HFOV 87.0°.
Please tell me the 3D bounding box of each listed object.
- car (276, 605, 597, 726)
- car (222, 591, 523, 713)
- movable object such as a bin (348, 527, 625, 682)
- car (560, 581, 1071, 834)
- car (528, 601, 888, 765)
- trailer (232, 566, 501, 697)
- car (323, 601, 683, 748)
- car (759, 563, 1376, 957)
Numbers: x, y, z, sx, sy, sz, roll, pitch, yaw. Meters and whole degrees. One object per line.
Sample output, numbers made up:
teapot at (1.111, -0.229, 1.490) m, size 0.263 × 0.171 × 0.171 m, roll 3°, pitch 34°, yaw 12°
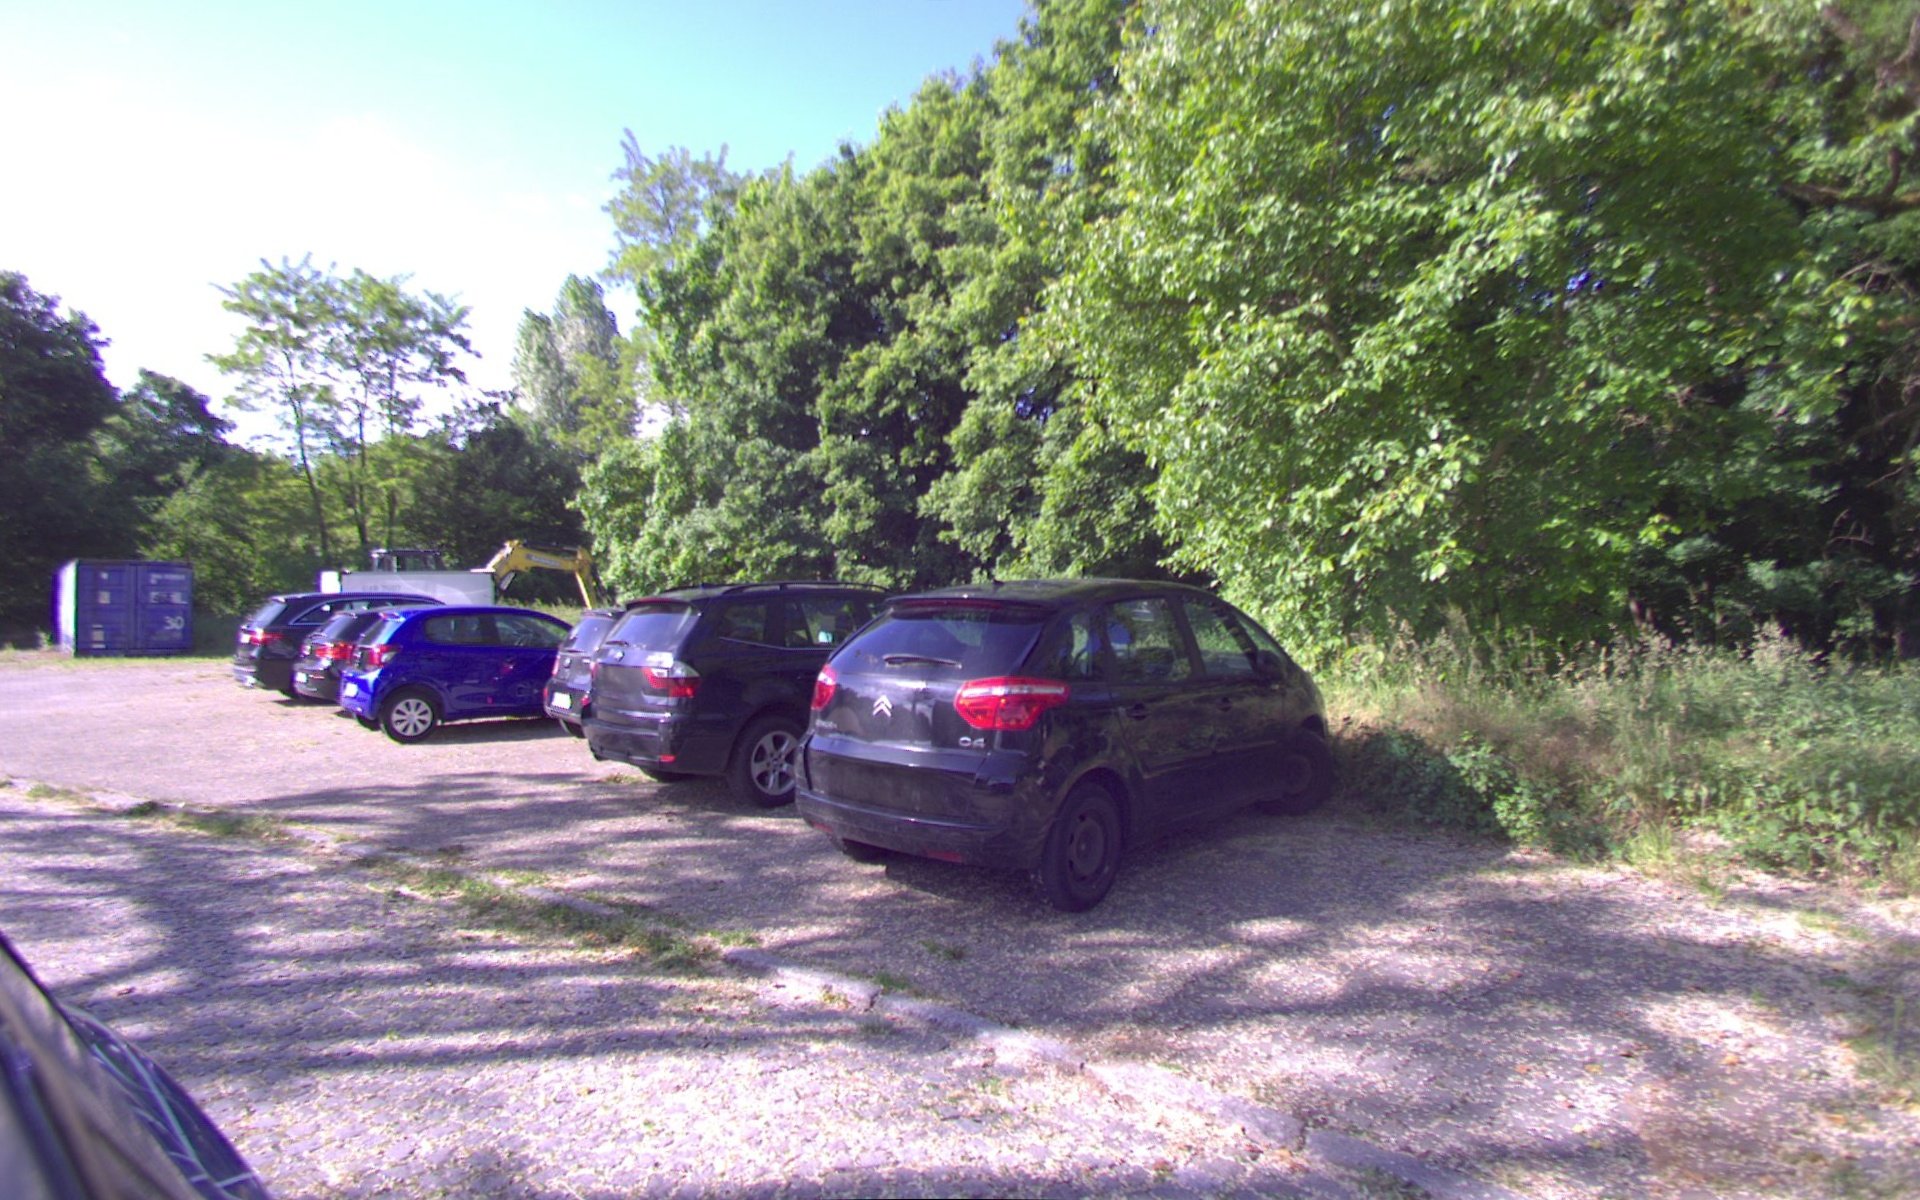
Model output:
car at (-7.199, 0.819, 14.090) m, size 3.608 × 1.462 × 1.836 m, roll 1°, pitch -1°, yaw -43°
car at (-9.041, 0.733, 15.710) m, size 3.761 × 1.653 × 1.870 m, roll 1°, pitch -1°, yaw -42°
movable object such as a bin at (-10.112, 0.133, 21.876) m, size 5.082 × 2.988 × 2.004 m, roll 1°, pitch -2°, yaw -39°
car at (-1.057, 0.700, 8.803) m, size 4.128 × 1.668 × 1.819 m, roll -1°, pitch 0°, yaw -45°
car at (-2.709, 0.804, 11.204) m, size 3.494 × 1.527 × 1.682 m, roll 1°, pitch -1°, yaw -38°
trailer at (-10.607, 0.494, 18.255) m, size 3.913 × 2.109 × 1.641 m, roll -1°, pitch 0°, yaw -43°
car at (-5.403, 0.791, 12.179) m, size 3.606 × 1.504 × 1.717 m, roll 1°, pitch -1°, yaw -41°
car at (0.990, 0.638, 6.462) m, size 1.792 × 1.664 × 4.241 m, roll -1°, pitch 1°, yaw 41°
